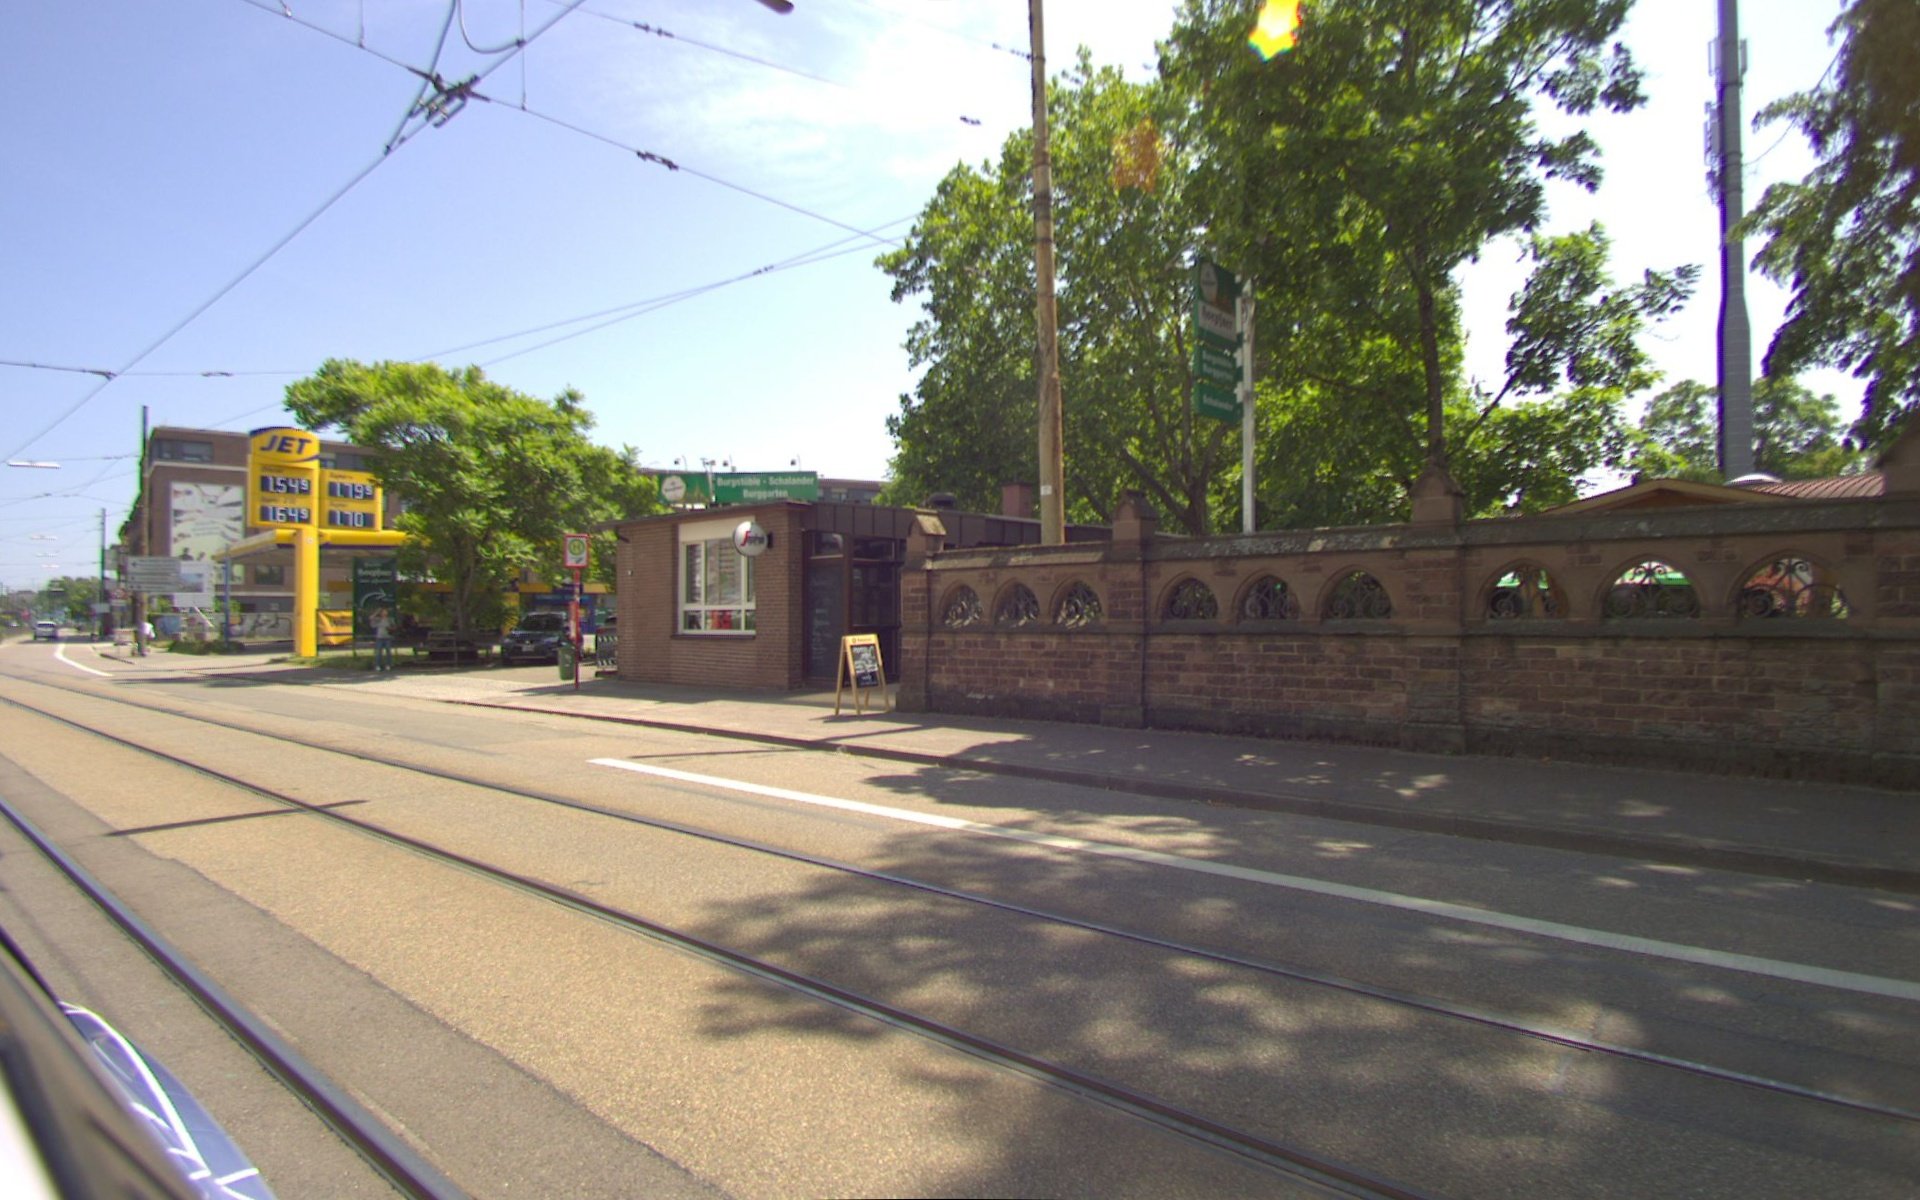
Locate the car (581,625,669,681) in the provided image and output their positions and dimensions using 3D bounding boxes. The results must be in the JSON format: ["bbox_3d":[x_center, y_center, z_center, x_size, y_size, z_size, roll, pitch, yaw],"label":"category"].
[{"bbox_3d":[-10.180,1.563,31.096,1.904,1.500,4.460,-1,0,-10],"label":"car"}]

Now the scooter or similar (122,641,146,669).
[{"bbox_3d":[-36.353,2.414,44.542,1.375,1.209,0.514,-2,-1,38],"label":"scooter or similar"}]

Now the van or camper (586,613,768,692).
[{"bbox_3d":[-6.663,1.198,24.069,1.870,1.641,3.745,-3,-1,40],"label":"van or camper"}]

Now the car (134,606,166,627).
[{"bbox_3d":[-60.090,1.249,75.101,1.709,1.479,4.008,-1,-1,-37],"label":"car"}]

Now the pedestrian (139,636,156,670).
[{"bbox_3d":[-41.567,2.699,51.785,0.617,1.704,0.724,1,-2,-37],"label":"pedestrian"}]

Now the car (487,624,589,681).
[{"bbox_3d":[-12.708,1.532,30.767,1.904,1.500,4.460,-1,0,-10],"label":"car"}]

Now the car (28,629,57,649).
[{"bbox_3d":[-90.701,3.827,100.062,1.969,1.813,4.559,-1,0,-41],"label":"car"}]

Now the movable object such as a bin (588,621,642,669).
[{"bbox_3d":[-11.705,1.485,34.297,1.499,1.521,2.106,-1,0,-25],"label":"movable object such as a bin"}]

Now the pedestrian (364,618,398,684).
[{"bbox_3d":[-16.194,1.423,28.308,0.698,1.789,0.574,-2,-1,37],"label":"pedestrian"}]
